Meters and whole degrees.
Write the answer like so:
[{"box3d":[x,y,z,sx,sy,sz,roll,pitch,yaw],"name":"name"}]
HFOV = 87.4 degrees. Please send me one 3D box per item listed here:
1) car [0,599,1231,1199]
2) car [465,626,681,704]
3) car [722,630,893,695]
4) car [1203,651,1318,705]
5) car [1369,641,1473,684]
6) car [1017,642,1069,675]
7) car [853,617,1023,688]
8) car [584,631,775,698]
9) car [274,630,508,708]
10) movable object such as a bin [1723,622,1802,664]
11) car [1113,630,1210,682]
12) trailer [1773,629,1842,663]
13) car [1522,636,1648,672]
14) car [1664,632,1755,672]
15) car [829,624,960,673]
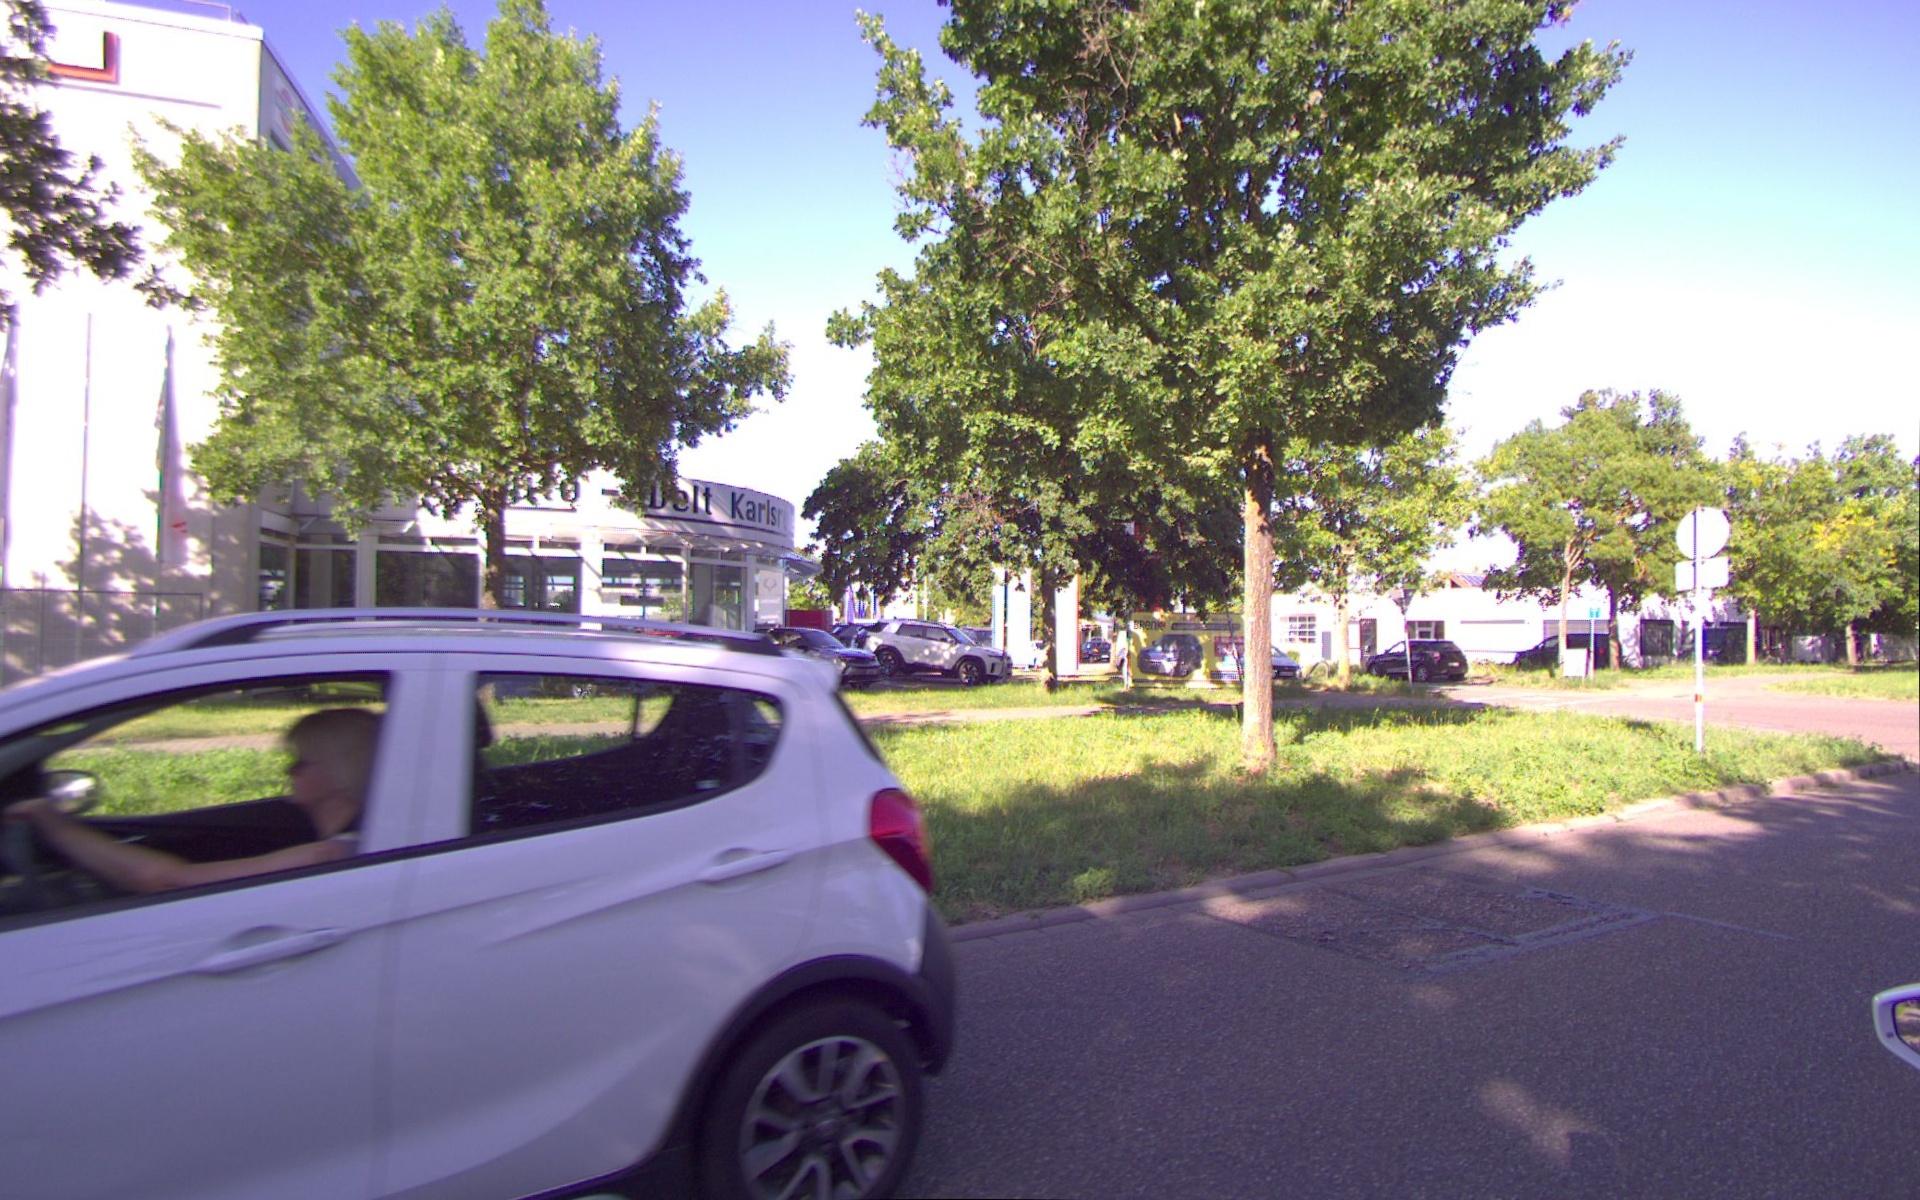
[{"box3d":[-1.500,0.784,2.638,4.376,1.484,1.735,1,-3,-31],"name":"car"},{"box3d":[-8.335,1.354,21.702,4.087,1.558,1.897,-1,-2,19],"name":"car"},{"box3d":[-4.009,1.589,26.409,4.095,1.582,1.997,-1,-2,29],"name":"car"},{"box3d":[9.980,2.558,33.685,1.933,1.639,3.740,1,-2,-18],"name":"car"},{"box3d":[17.984,2.413,39.373,1.792,1.553,3.670,1,-2,-15],"name":"car"},{"box3d":[4.329,3.055,52.918,1.769,1.531,3.993,0,-1,-10],"name":"car"},{"box3d":[-0.641,1.562,30.401,4.762,2.040,2.000,-1,-2,19],"name":"car"},{"box3d":[-6.770,1.514,24.333,4.089,1.510,2.000,-1,-2,22],"name":"car"},{"box3d":[-11.339,1.325,20.086,3.875,1.420,2.000,-1,-2,19],"name":"car"},{"box3d":[45.056,2.387,56.360,4.410,2.246,2.091,1,-2,-32],"name":"movable object such as a bin"},{"box3d":[8.002,2.201,40.474,1.908,1.931,5.014,1,-2,-13],"name":"car"},{"box3d":[50.904,2.731,60.316,3.699,1.940,2.091,1,-2,-32],"name":"trailer"},{"box3d":[27.725,2.365,44.721,1.915,1.498,4.488,1,-2,-25],"name":"car"},{"box3d":[39.726,2.721,53.179,5.744,2.014,2.024,2,-2,-33],"name":"car"},{"box3d":[-2.592,1.905,39.473,4.795,1.836,1.992,1,-2,-19],"name":"car"}]
